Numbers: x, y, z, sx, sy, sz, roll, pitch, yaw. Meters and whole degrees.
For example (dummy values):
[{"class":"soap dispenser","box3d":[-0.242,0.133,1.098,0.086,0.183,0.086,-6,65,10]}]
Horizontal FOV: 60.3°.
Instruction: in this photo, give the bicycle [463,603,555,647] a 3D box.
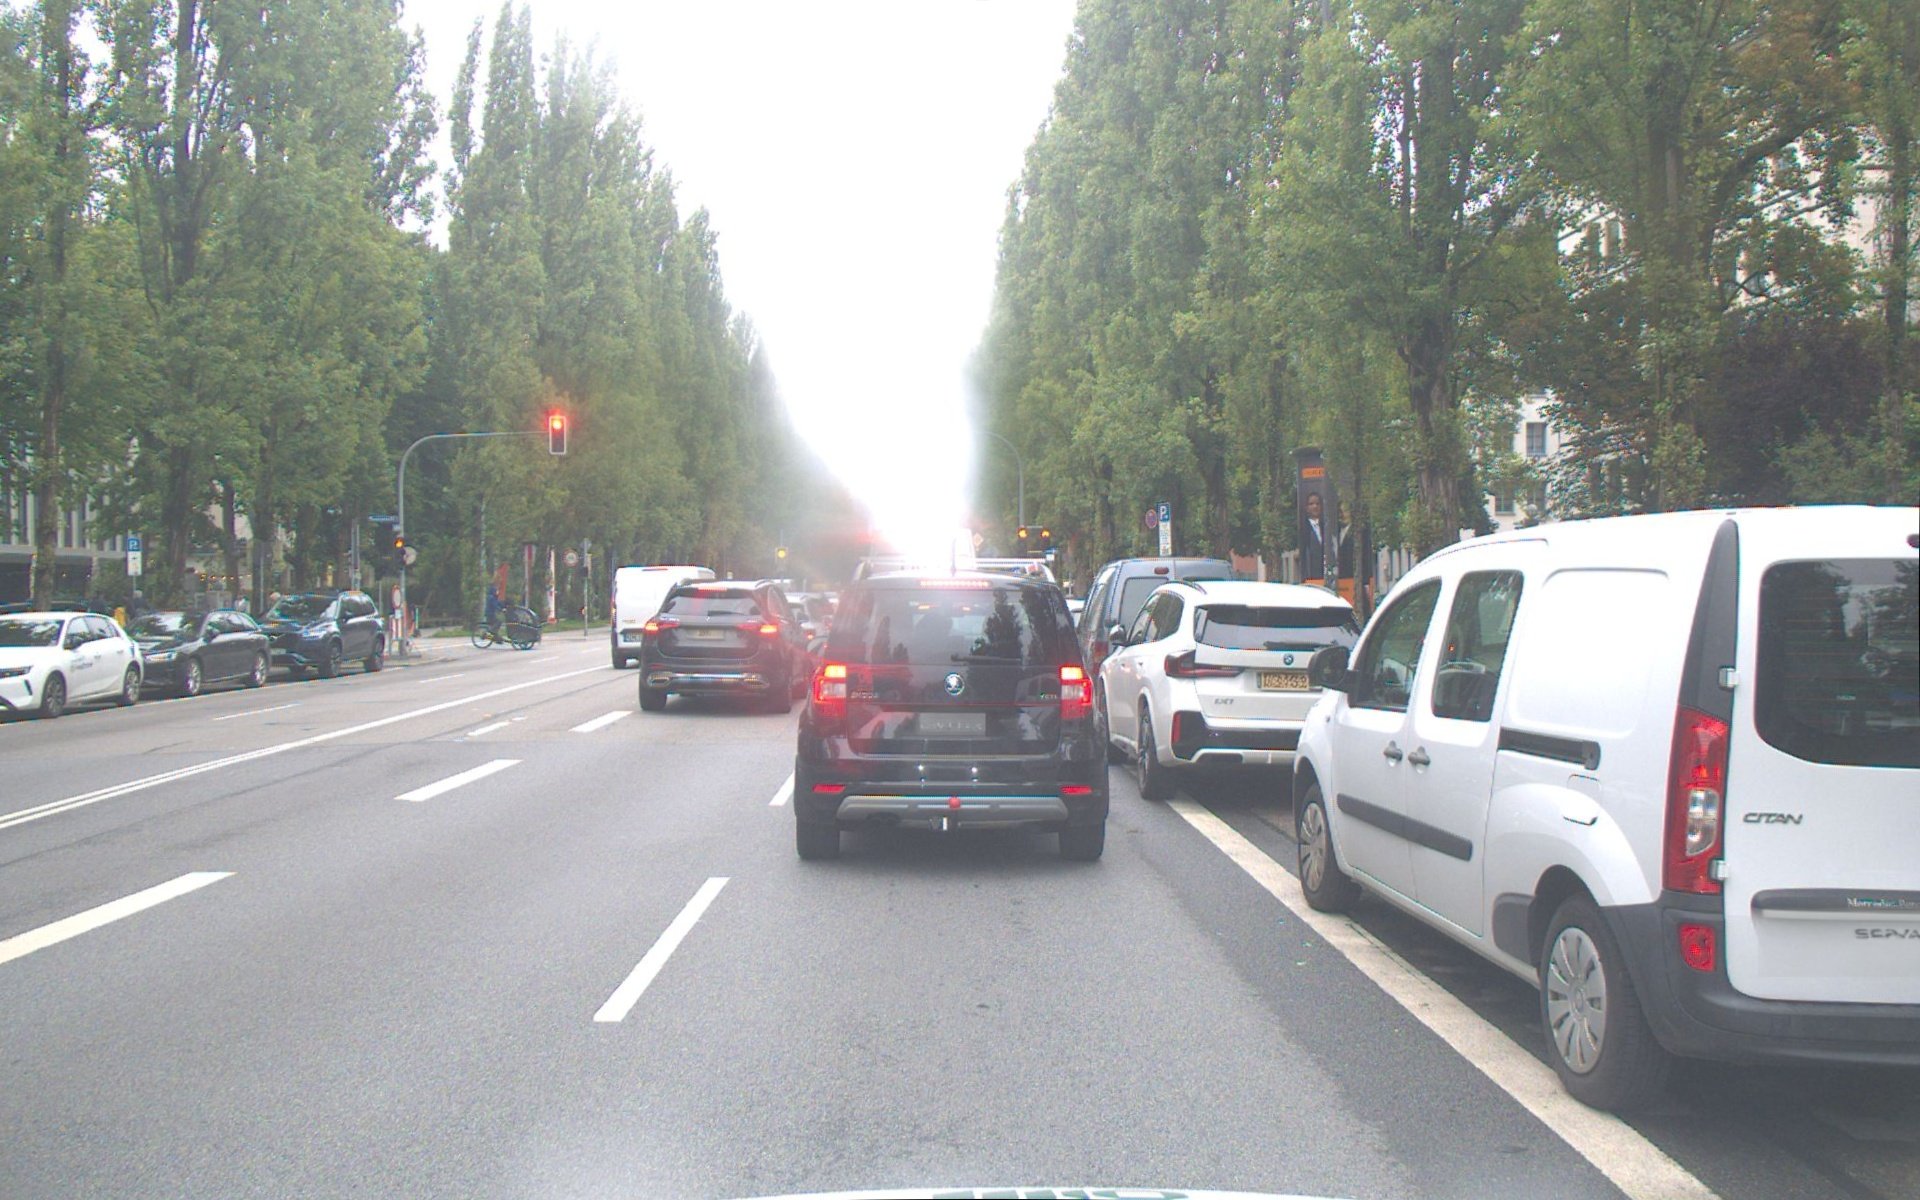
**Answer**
[{"class":"bicycle","box3d":[-13.410,0.748,49.210,2.481,1.259,0.813,-1,0,8]}]

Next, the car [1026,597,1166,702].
[{"class":"car","box3d":[1.972,0.685,24.861,1.700,1.411,3.561,-1,1,-2]}]

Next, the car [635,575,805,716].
[{"class":"car","box3d":[-3.059,0.526,21.817,1.745,1.648,4.023,1,0,-2]}]

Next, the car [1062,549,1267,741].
[{"class":"car","box3d":[2.205,0.436,18.792,1.700,1.928,4.023,-1,1,-2]}]

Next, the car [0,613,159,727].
[{"class":"car","box3d":[-13.161,0.966,23.623,1.591,1.413,4.163,-3,0,-4]}]

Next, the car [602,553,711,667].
[{"class":"car","box3d":[-6.071,0.180,33.481,1.746,2.148,4.021,-1,0,-5]}]

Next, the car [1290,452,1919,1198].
[{"class":"car","box3d":[2.678,0.550,6.382,1.814,1.914,4.166,-1,1,-2]}]

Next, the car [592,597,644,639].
[{"class":"car","box3d":[-15.410,0.802,74.597,1.654,1.814,3.774,-1,0,-2]}]

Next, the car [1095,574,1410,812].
[{"class":"car","box3d":[2.197,0.618,13.517,1.706,1.620,4.210,-1,1,-2]}]

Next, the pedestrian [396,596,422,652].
[{"class":"pedestrian","box3d":[-15.000,0.655,45.062,0.507,1.511,0.536,-1,0,-1]}]

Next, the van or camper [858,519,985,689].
[{"class":"van or camper","box3d":[-0.703,0.040,27.431,1.936,2.593,4.022,-1,0,-3]}]

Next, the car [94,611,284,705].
[{"class":"car","box3d":[-13.453,0.962,29.121,1.591,1.413,4.163,-3,0,-4]}]

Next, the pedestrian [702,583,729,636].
[{"class":"pedestrian","box3d":[-9.481,0.366,64.222,0.867,2.049,1.013,-1,0,1]}]

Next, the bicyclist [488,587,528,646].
[{"class":"bicyclist","box3d":[-13.443,0.485,49.219,0.886,1.752,0.825,-1,0,8]}]

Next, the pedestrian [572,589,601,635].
[{"class":"pedestrian","box3d":[-14.912,0.485,66.038,0.861,1.795,0.879,-1,0,8]}]

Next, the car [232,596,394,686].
[{"class":"car","box3d":[-13.591,0.809,35.068,1.813,1.683,4.692,-3,0,-4]}]

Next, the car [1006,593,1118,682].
[{"class":"car","box3d":[1.797,0.635,30.158,1.700,1.501,3.561,-1,1,-2]}]

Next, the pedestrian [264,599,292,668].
[{"class":"pedestrian","box3d":[-15.561,0.754,37.740,0.455,1.555,0.395,-1,0,-1]}]

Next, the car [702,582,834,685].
[{"class":"car","box3d":[-3.211,0.514,28.426,1.954,1.588,3.998,-1,1,-3]}]

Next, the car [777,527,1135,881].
[{"class":"car","box3d":[-0.069,0.535,10.598,1.818,1.801,3.999,1,0,-2]}]
